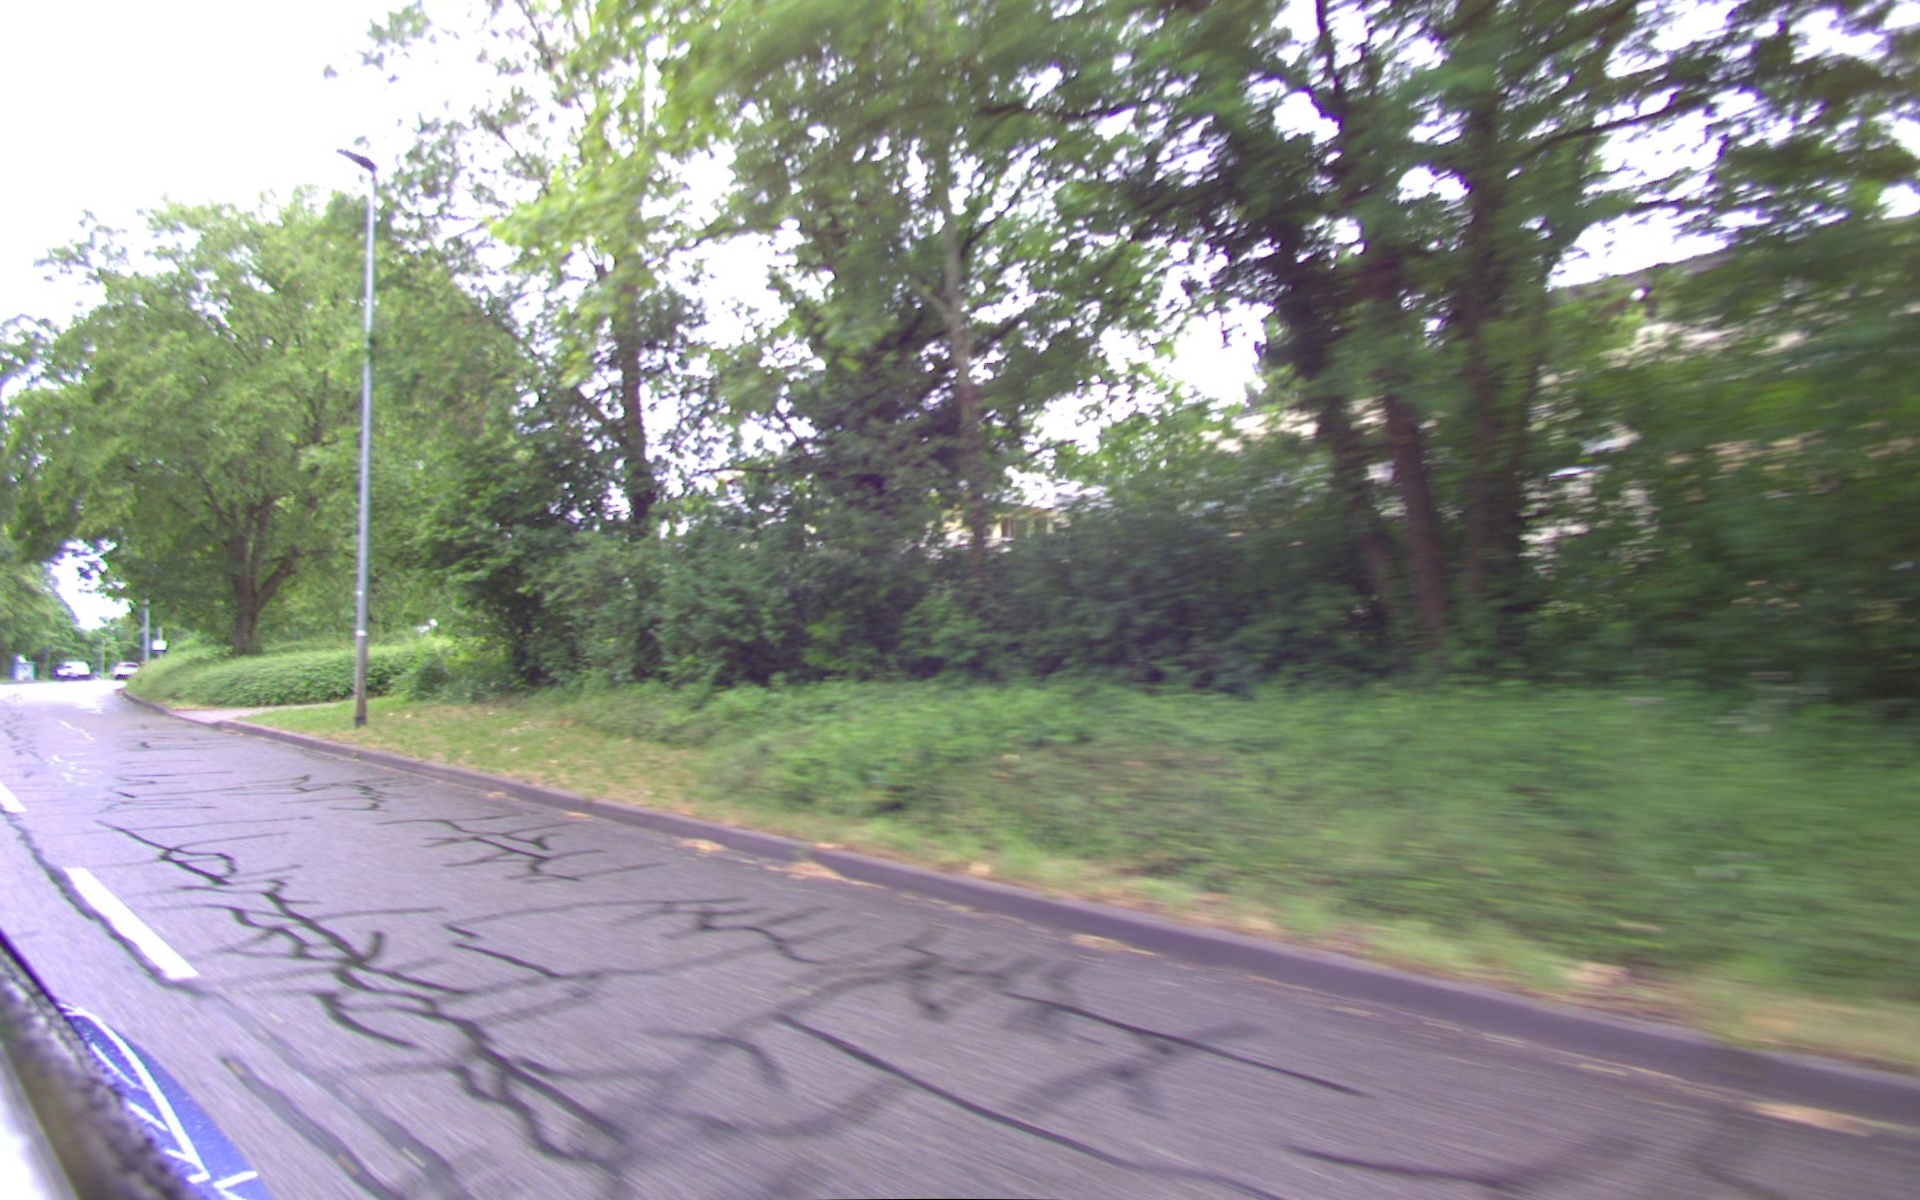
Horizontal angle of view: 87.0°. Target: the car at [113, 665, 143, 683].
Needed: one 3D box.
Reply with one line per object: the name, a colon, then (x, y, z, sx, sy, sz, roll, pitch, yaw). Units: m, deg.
car: (-69.019, 6.160, 83.964, 1.644, 1.489, 3.740, 4, -6, -37)
